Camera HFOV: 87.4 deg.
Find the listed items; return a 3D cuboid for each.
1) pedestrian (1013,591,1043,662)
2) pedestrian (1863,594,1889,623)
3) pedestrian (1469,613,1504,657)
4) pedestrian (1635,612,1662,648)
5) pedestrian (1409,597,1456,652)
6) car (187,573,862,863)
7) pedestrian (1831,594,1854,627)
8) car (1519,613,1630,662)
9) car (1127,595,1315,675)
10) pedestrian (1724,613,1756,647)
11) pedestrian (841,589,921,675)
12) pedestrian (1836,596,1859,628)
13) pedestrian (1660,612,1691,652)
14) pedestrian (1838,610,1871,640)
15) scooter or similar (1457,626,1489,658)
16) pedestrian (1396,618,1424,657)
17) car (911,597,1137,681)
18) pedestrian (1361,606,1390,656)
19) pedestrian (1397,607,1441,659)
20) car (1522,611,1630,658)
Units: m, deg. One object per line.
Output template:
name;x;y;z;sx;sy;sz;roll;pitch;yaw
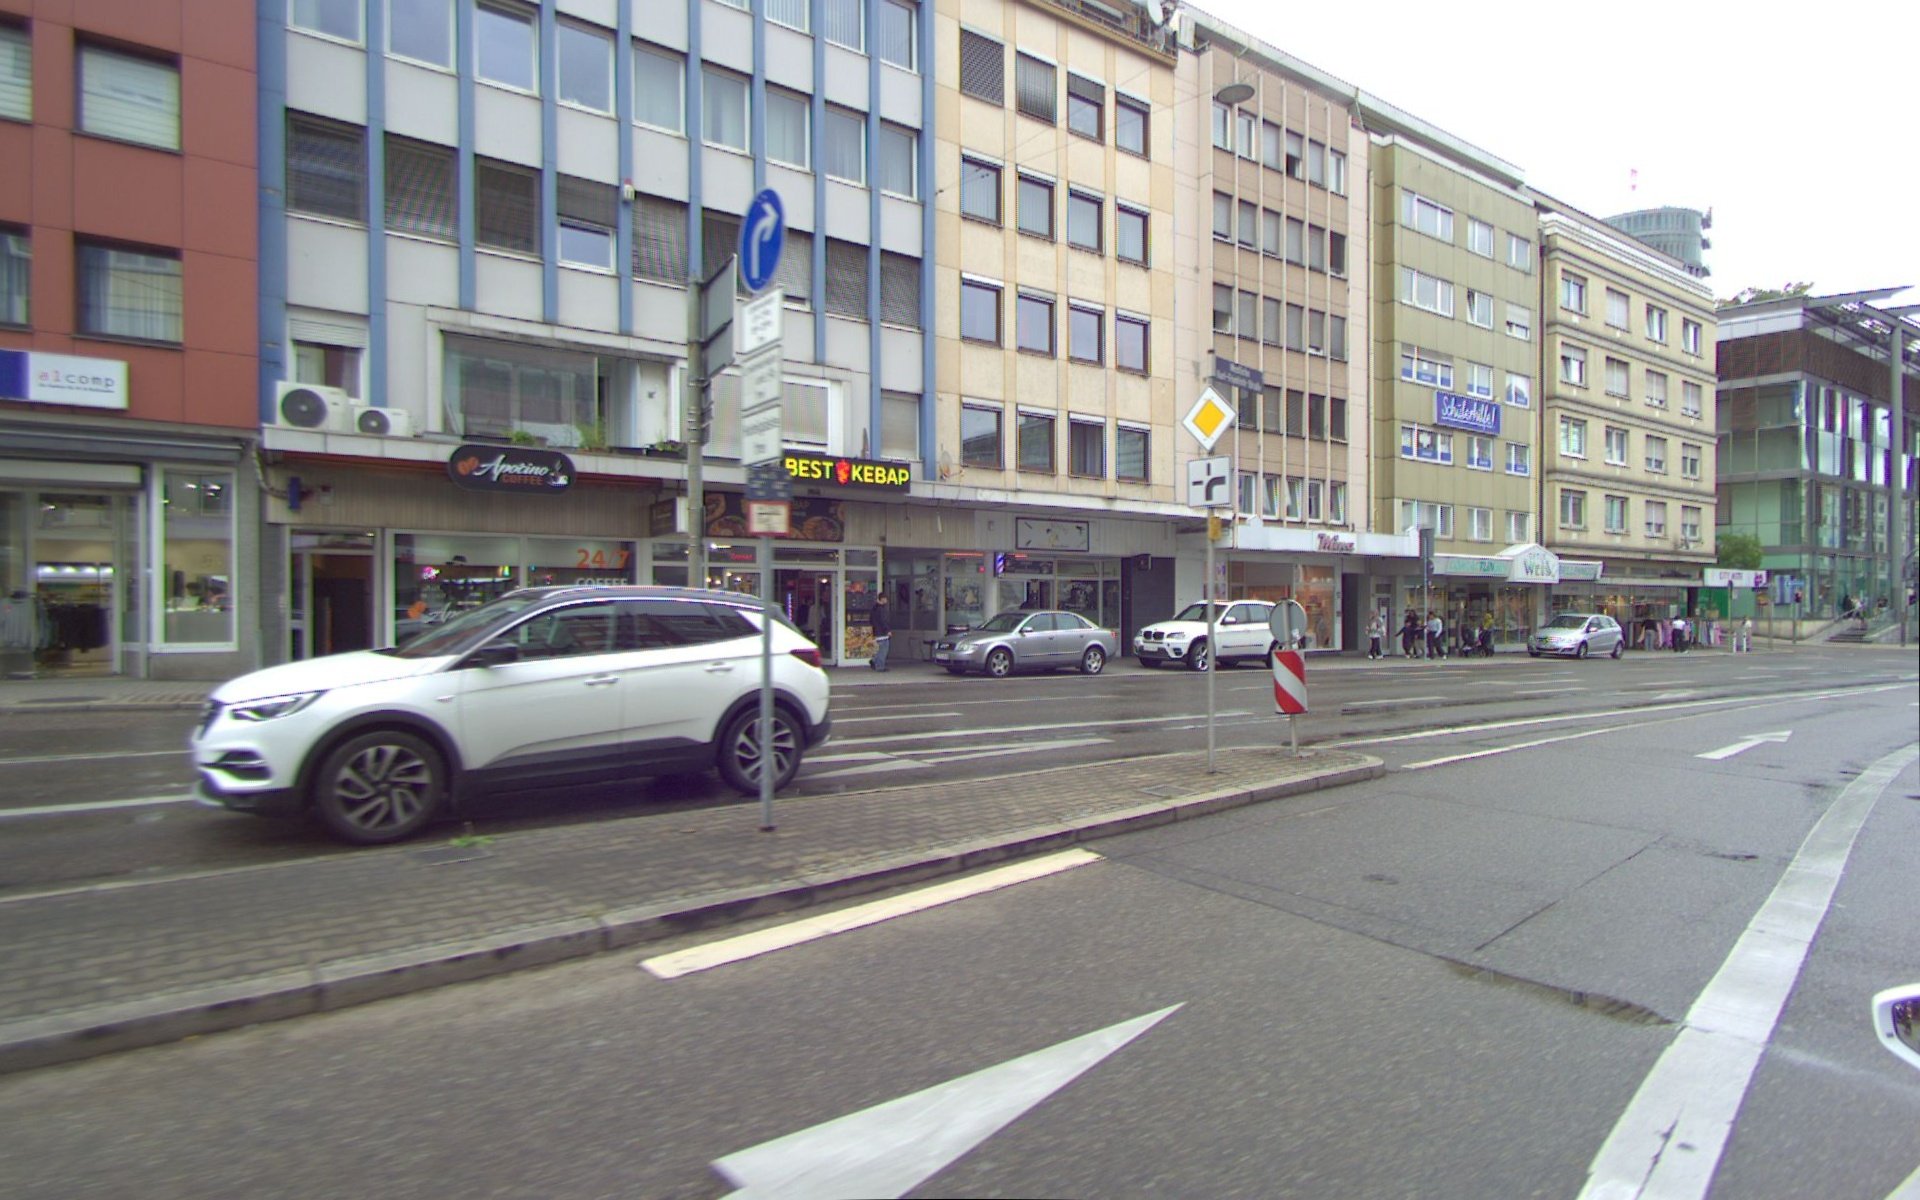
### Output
pedestrian;1.708;0.654;25.157;0.578;1.731;0.443;0;2;-33
pedestrian;56.663;0.504;62.142;0.999;1.736;1.030;1;1;-39
pedestrian;18.639;1.217;35.583;1.055;1.504;0.662;0;2;-36
pedestrian;30.661;1.311;44.745;0.675;1.557;0.779;1;1;-36
pedestrian;15.586;0.791;33.127;1.080;1.737;0.945;0;2;-35
car;-3.131;0.632;7.693;4.390;1.572;1.977;0;2;-39
pedestrian;56.070;0.663;63.810;0.965;2.007;0.875;1;1;-34
car;22.361;1.303;36.507;4.355;1.571;1.835;0;3;-35
car;6.733;0.852;25.745;4.911;1.851;1.838;1;1;-34
pedestrian;38.411;1.482;49.455;1.141;1.607;0.867;1;0;-31
pedestrian;-1.689;0.663;21.529;1.405;1.741;0.945;0;2;-36
pedestrian;56.854;0.746;64.339;0.841;2.007;0.869;1;1;-34
pedestrian;31.126;1.385;43.715;0.828;1.649;0.775;2;1;13
pedestrian;53.488;1.500;60.102;0.989;1.736;1.041;1;1;-6
scooter or similar;17.913;1.461;35.086;0.694;1.068;0.731;0;2;-35
pedestrian;15.155;1.251;33.810;0.714;1.266;0.530;0;2;-36
car;1.475;0.821;22.107;4.829;1.630;1.853;1;1;-34
pedestrian;13.555;1.008;32.789;0.605;1.595;0.638;1;0;-34
pedestrian;15.824;1.111;34.632;1.076;1.718;0.945;0;2;-35
car;22.386;1.240;36.489;4.156;1.584;1.690;1;1;-33
